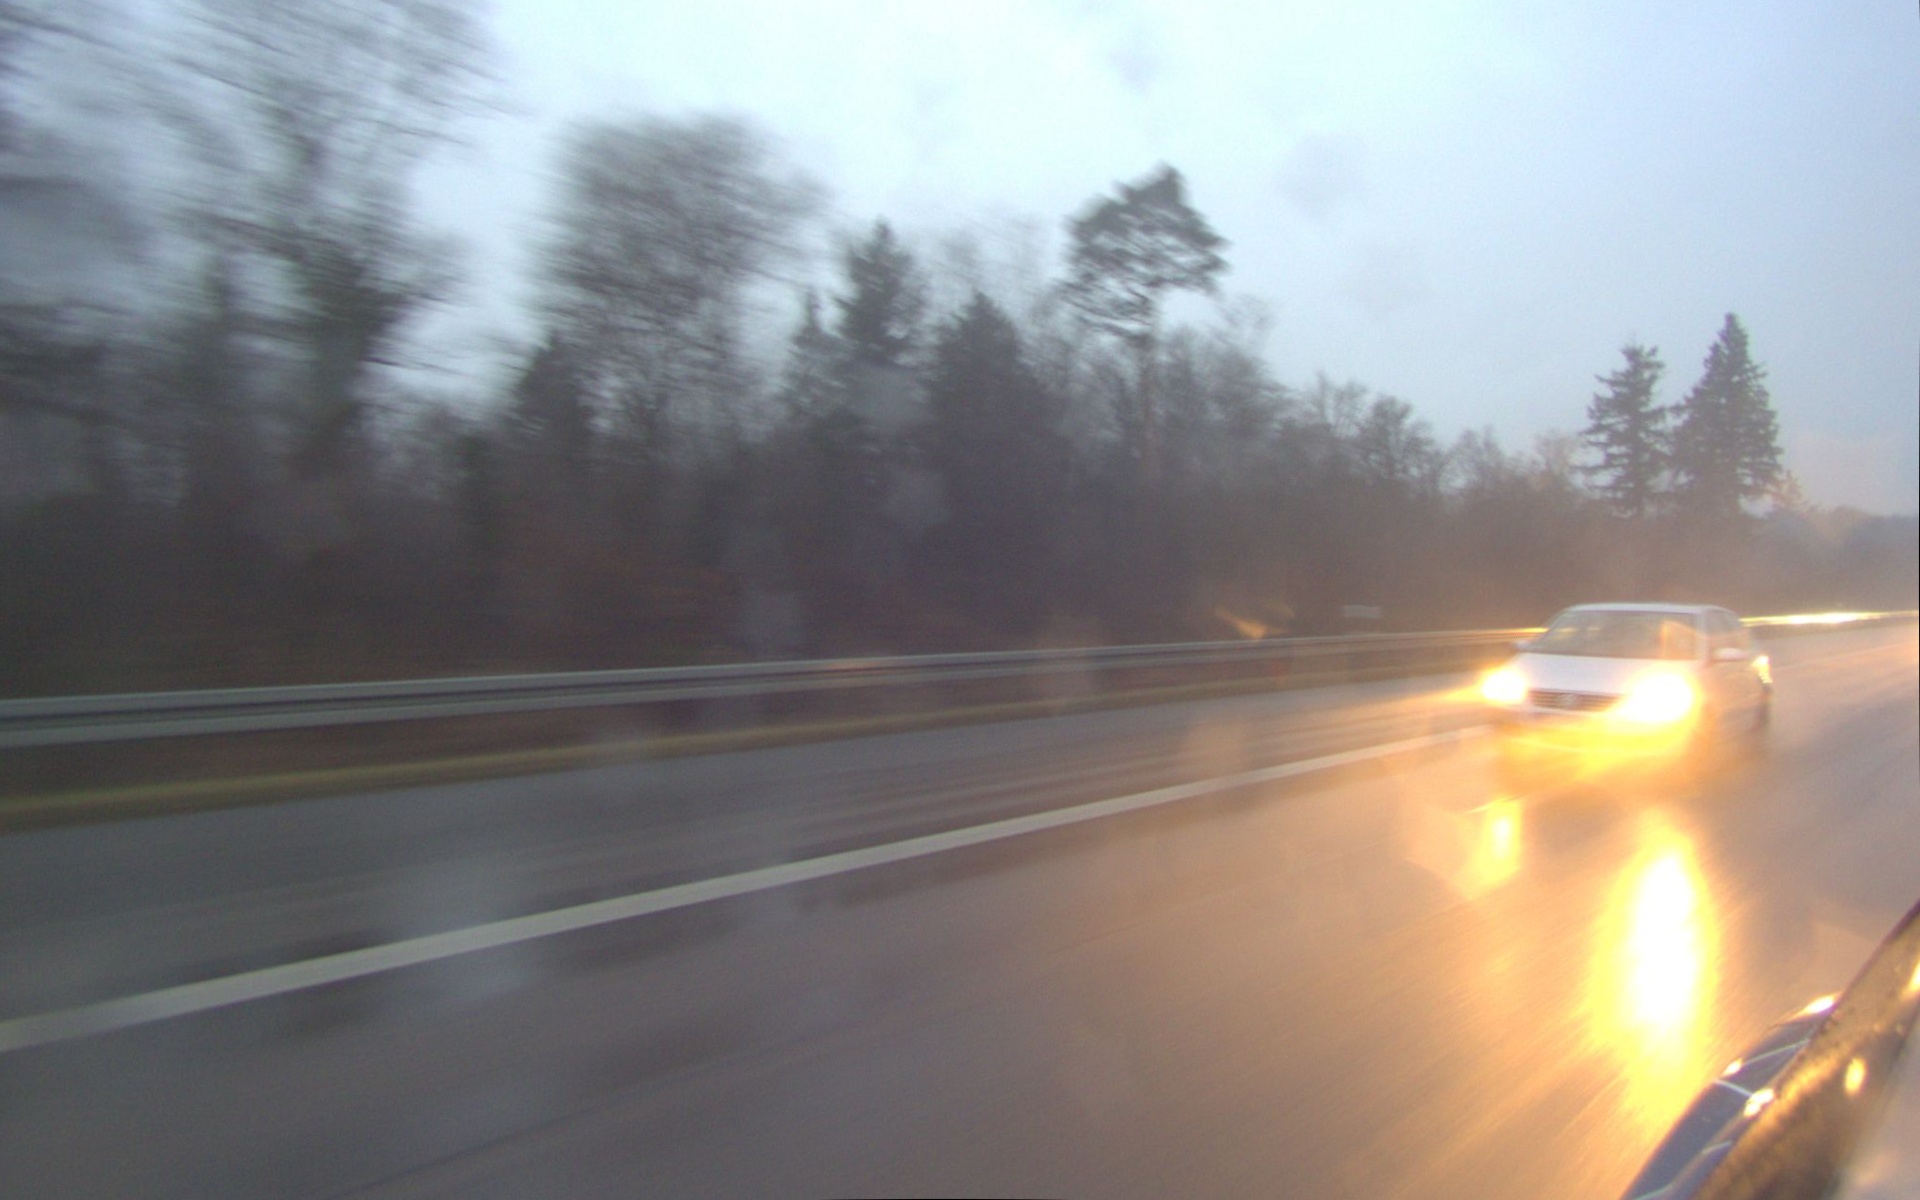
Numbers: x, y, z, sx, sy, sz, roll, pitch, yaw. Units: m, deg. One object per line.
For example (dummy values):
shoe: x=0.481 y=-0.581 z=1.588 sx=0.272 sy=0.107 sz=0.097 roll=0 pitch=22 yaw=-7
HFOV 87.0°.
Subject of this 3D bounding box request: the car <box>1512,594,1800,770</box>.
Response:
car: x=6.790 y=0.643 z=9.766 sx=3.248 sy=1.383 sz=1.601 roll=-1 pitch=1 yaw=-42
